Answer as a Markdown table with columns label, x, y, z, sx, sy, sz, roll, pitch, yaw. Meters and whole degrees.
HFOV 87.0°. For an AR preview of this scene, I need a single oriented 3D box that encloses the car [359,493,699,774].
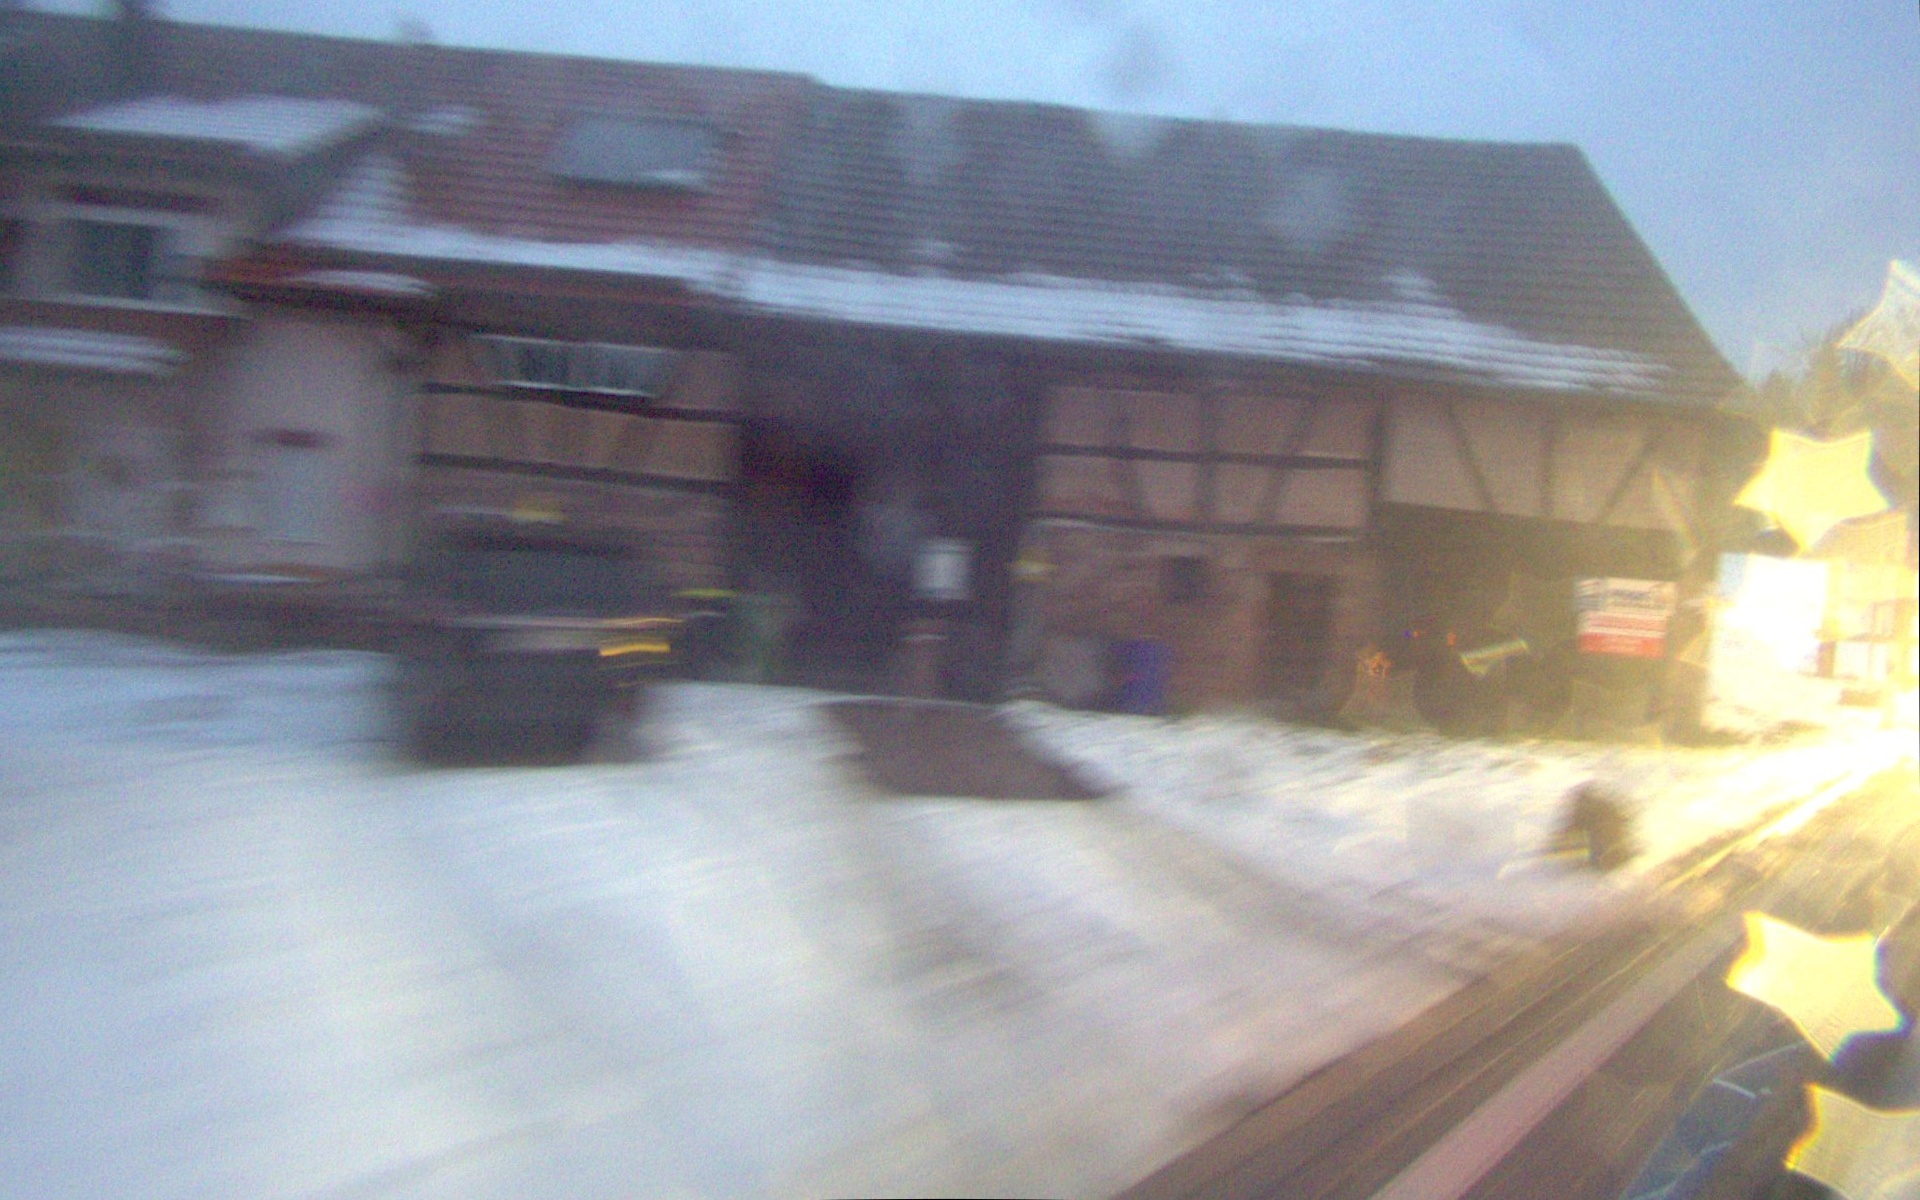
| label | x | y | z | sx | sy | sz | roll | pitch | yaw |
| --- | --- | --- | --- | --- | --- | --- | --- | --- | --- |
| car | -3.796 | 0.063 | 8.362 | 1.825 | 1.677 | 4.416 | 3 | 3 | -33 |
